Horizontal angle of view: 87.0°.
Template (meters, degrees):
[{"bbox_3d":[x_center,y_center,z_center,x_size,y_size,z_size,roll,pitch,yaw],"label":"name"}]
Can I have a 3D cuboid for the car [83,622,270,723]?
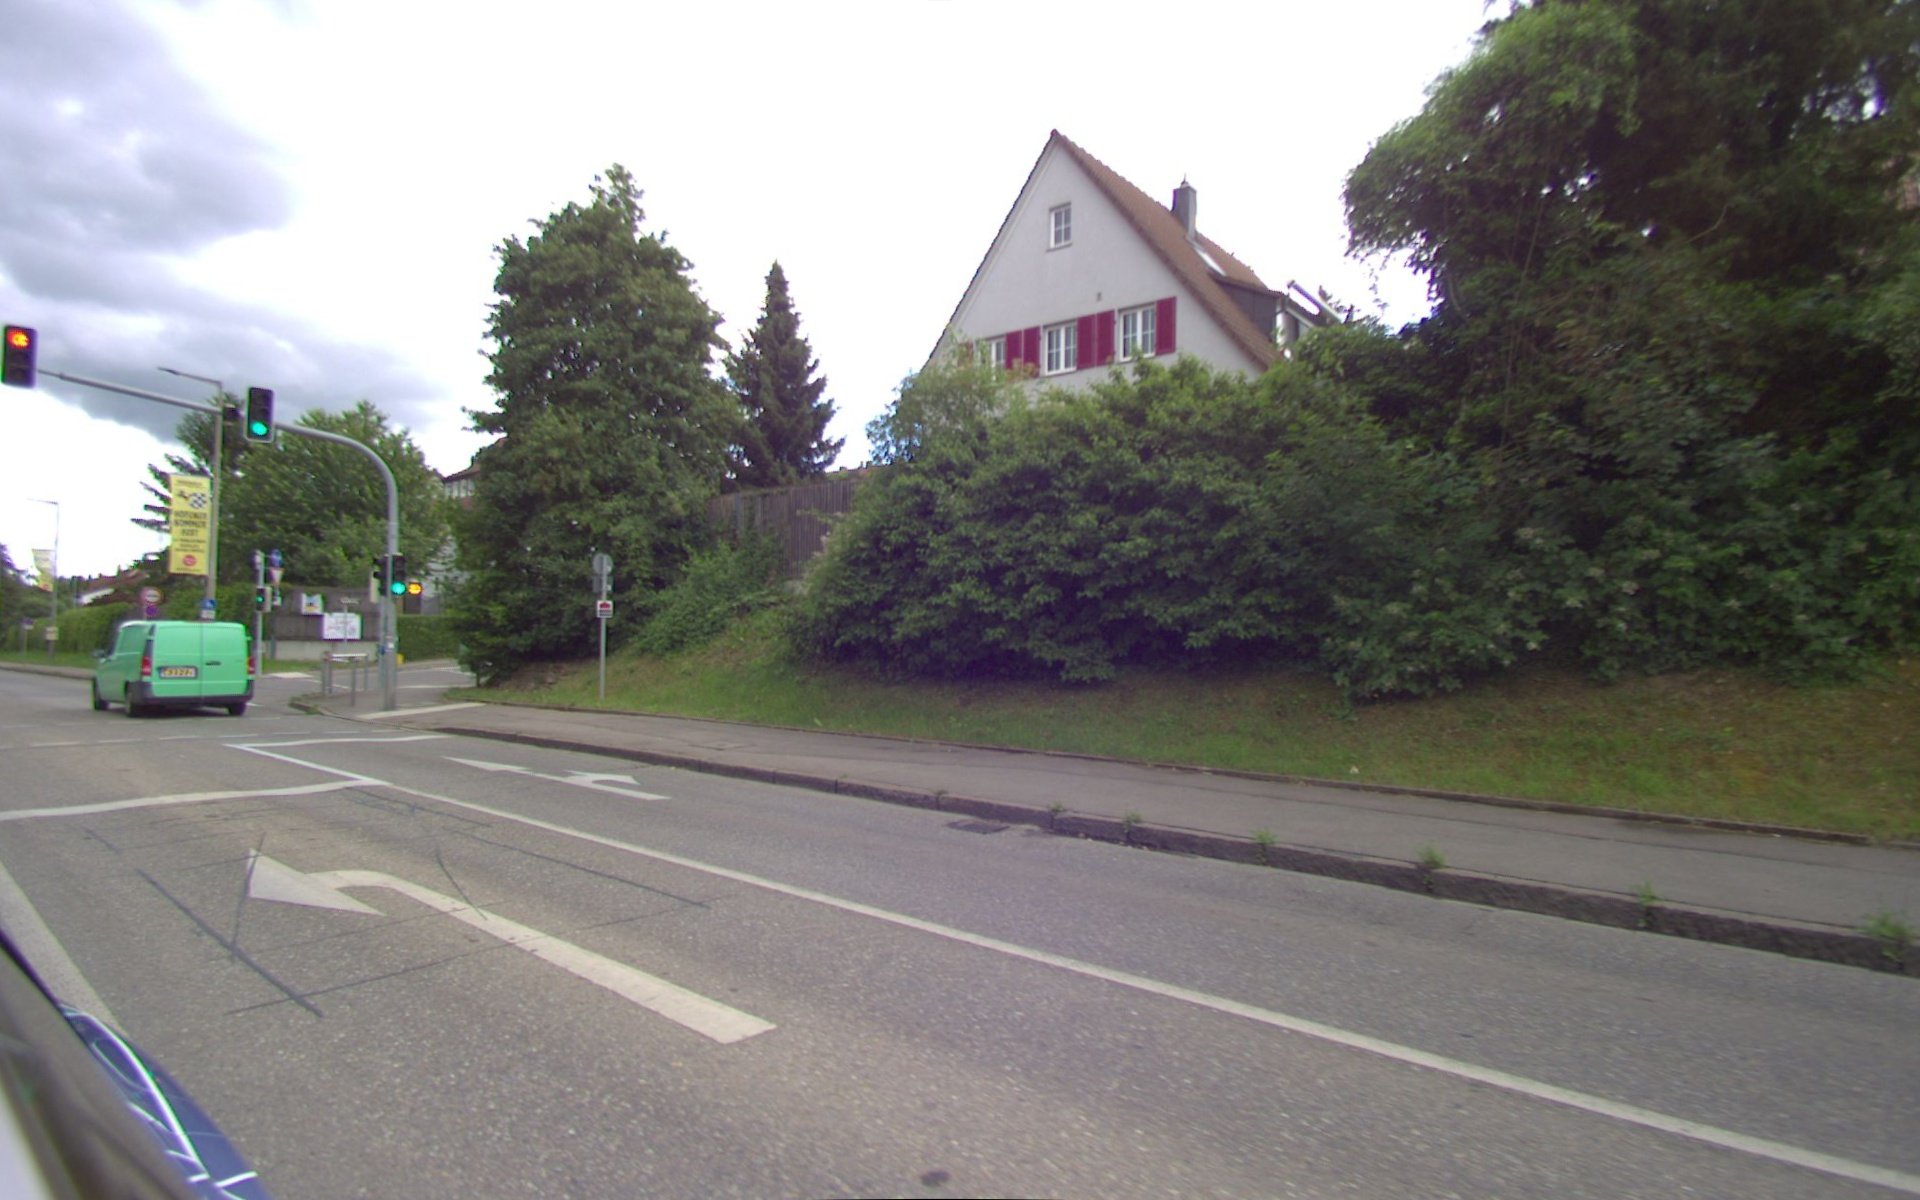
[{"bbox_3d":[-15.999,1.438,20.586,4.726,1.824,2.037,-2,-5,41],"label":"car"}]
